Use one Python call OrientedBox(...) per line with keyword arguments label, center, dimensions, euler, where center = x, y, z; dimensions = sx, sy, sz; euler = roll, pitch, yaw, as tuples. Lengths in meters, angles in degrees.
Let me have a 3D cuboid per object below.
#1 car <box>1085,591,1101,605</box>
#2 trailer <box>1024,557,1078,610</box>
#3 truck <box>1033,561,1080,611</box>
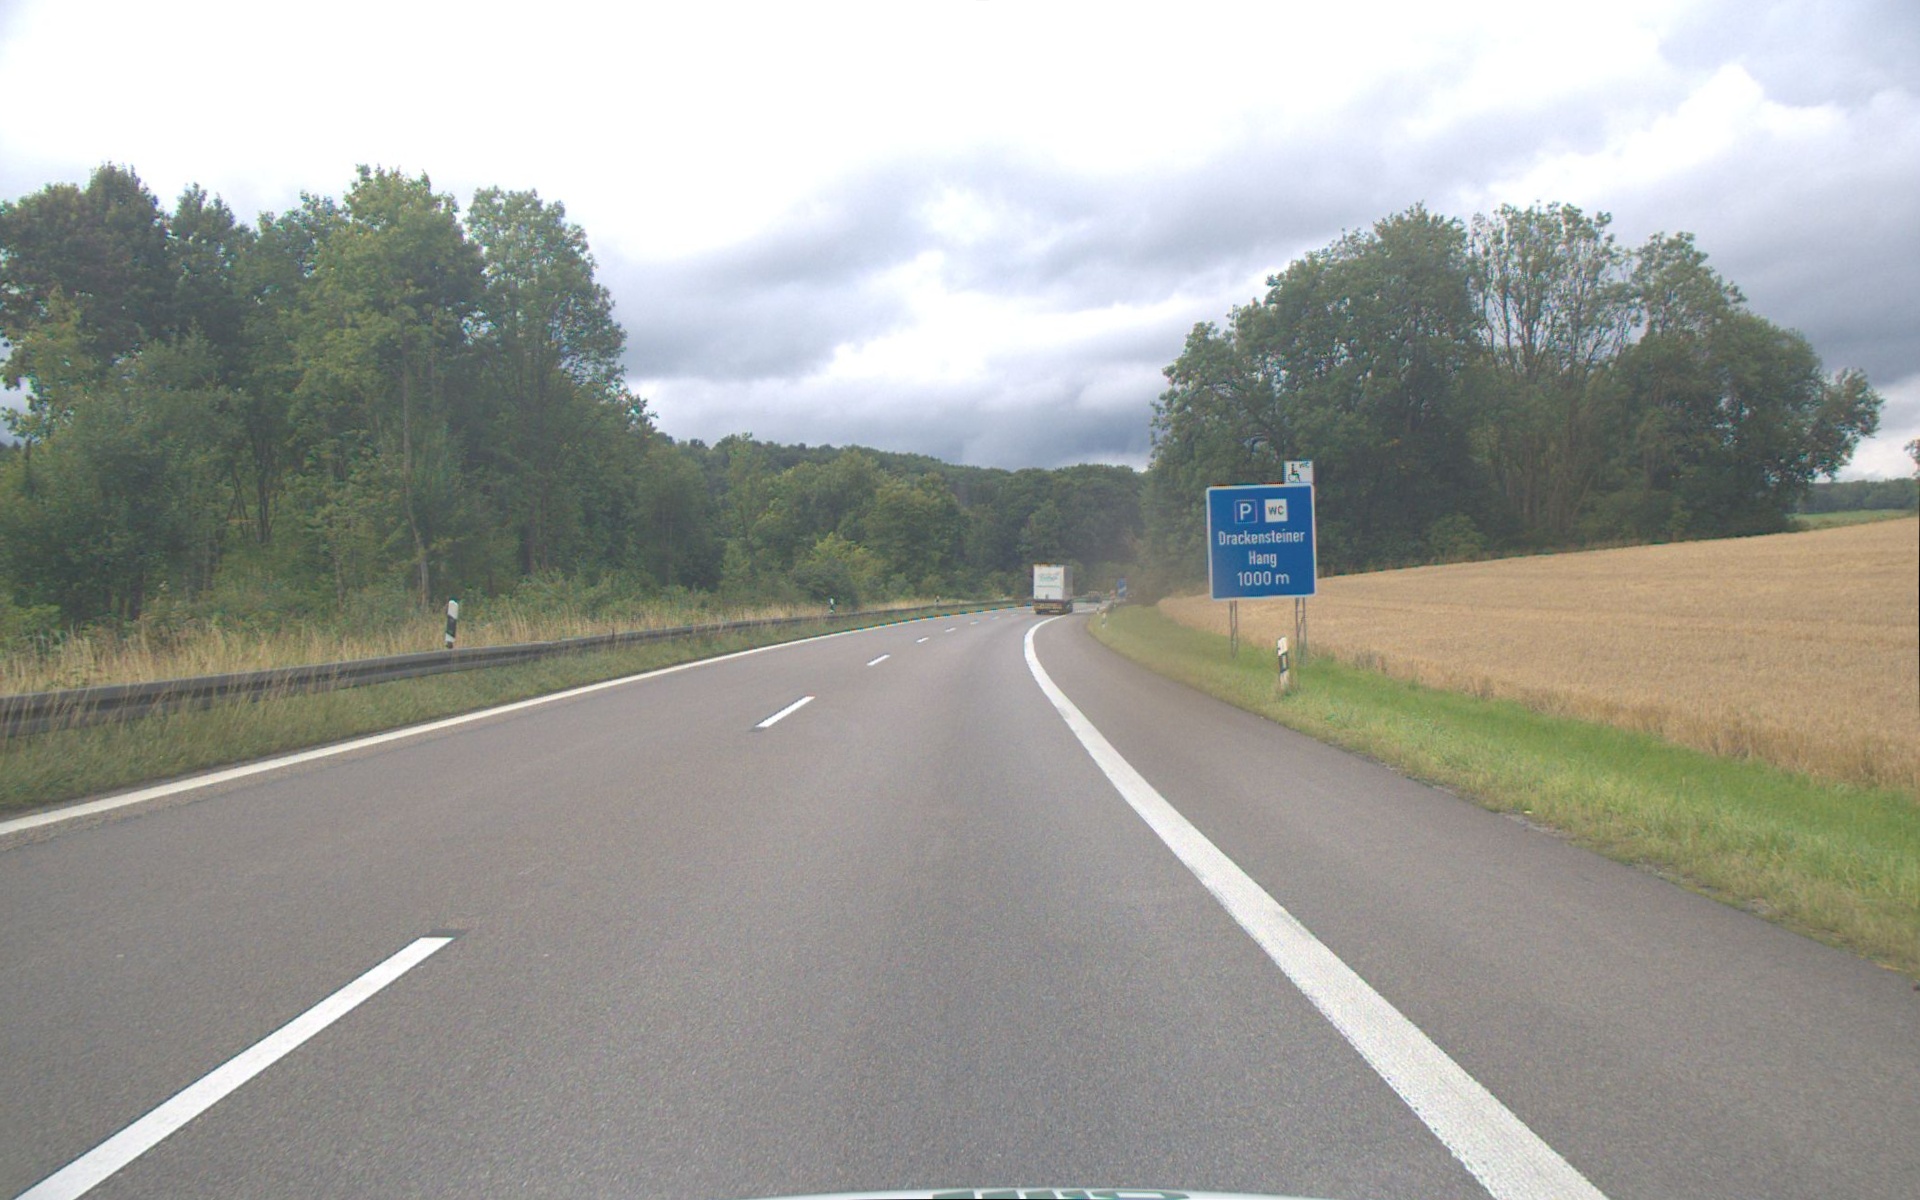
OrientedBox(label="car", center=(18.146, -0.214, 225.879), dimensions=(1.862, 1.826, 4.003), euler=(1, -1, 9))
OrientedBox(label="trailer", center=(7.822, -1.266, 139.968), dimensions=(3.725, 4.248, 14.818), euler=(1, 0, 6))
OrientedBox(label="truck", center=(8.693, -1.216, 147.730), dimensions=(3.707, 4.204, 8.270), euler=(1, -1, 6))
